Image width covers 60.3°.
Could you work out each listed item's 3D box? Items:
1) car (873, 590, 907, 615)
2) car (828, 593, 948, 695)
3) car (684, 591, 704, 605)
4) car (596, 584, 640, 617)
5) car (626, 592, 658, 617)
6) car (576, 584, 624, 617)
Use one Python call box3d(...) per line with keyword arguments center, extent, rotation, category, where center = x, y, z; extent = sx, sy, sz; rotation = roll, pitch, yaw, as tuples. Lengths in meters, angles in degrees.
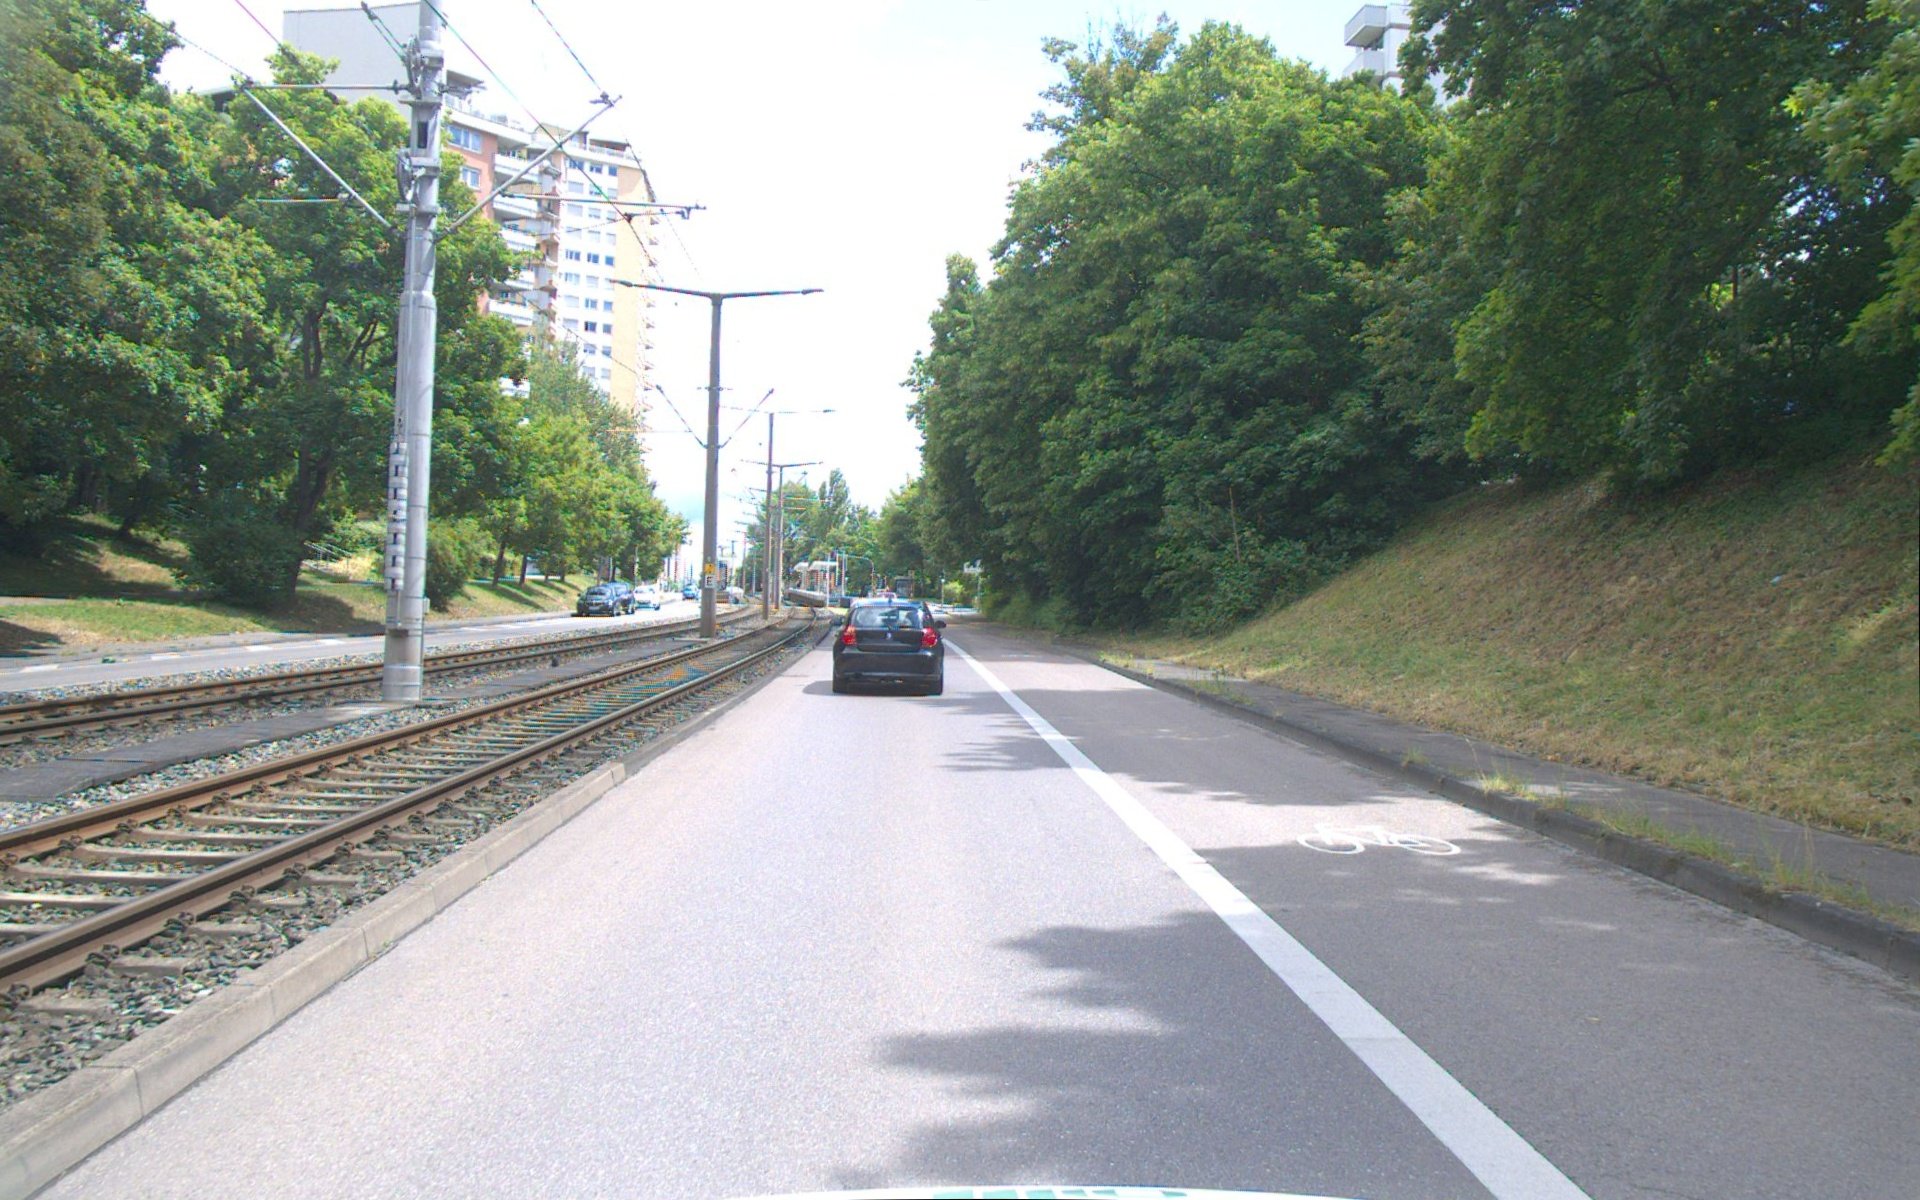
box3d(center=(-4.299, 0.163, 101.151), extent=(1.747, 1.485, 3.916), rotation=(1, 0, -6), category="car")
box3d(center=(-1.197, 0.640, 26.103), extent=(1.746, 1.485, 3.917), rotation=(0, 0, -5), category="car")
box3d(center=(-27.976, -0.196, 173.829), extent=(1.686, 1.467, 3.929), rotation=(1, 0, -13), category="car")
box3d(center=(-17.796, 0.027, 86.256), extent=(1.740, 1.658, 4.377), rotation=(0, -1, -5), category="car")
box3d(center=(-19.822, 0.255, 103.245), extent=(1.748, 1.559, 4.236), rotation=(0, 0, -8), category="car")
box3d(center=(-17.295, 0.007, 79.606), extent=(1.740, 1.524, 3.993), rotation=(1, 0, -5), category="car")
